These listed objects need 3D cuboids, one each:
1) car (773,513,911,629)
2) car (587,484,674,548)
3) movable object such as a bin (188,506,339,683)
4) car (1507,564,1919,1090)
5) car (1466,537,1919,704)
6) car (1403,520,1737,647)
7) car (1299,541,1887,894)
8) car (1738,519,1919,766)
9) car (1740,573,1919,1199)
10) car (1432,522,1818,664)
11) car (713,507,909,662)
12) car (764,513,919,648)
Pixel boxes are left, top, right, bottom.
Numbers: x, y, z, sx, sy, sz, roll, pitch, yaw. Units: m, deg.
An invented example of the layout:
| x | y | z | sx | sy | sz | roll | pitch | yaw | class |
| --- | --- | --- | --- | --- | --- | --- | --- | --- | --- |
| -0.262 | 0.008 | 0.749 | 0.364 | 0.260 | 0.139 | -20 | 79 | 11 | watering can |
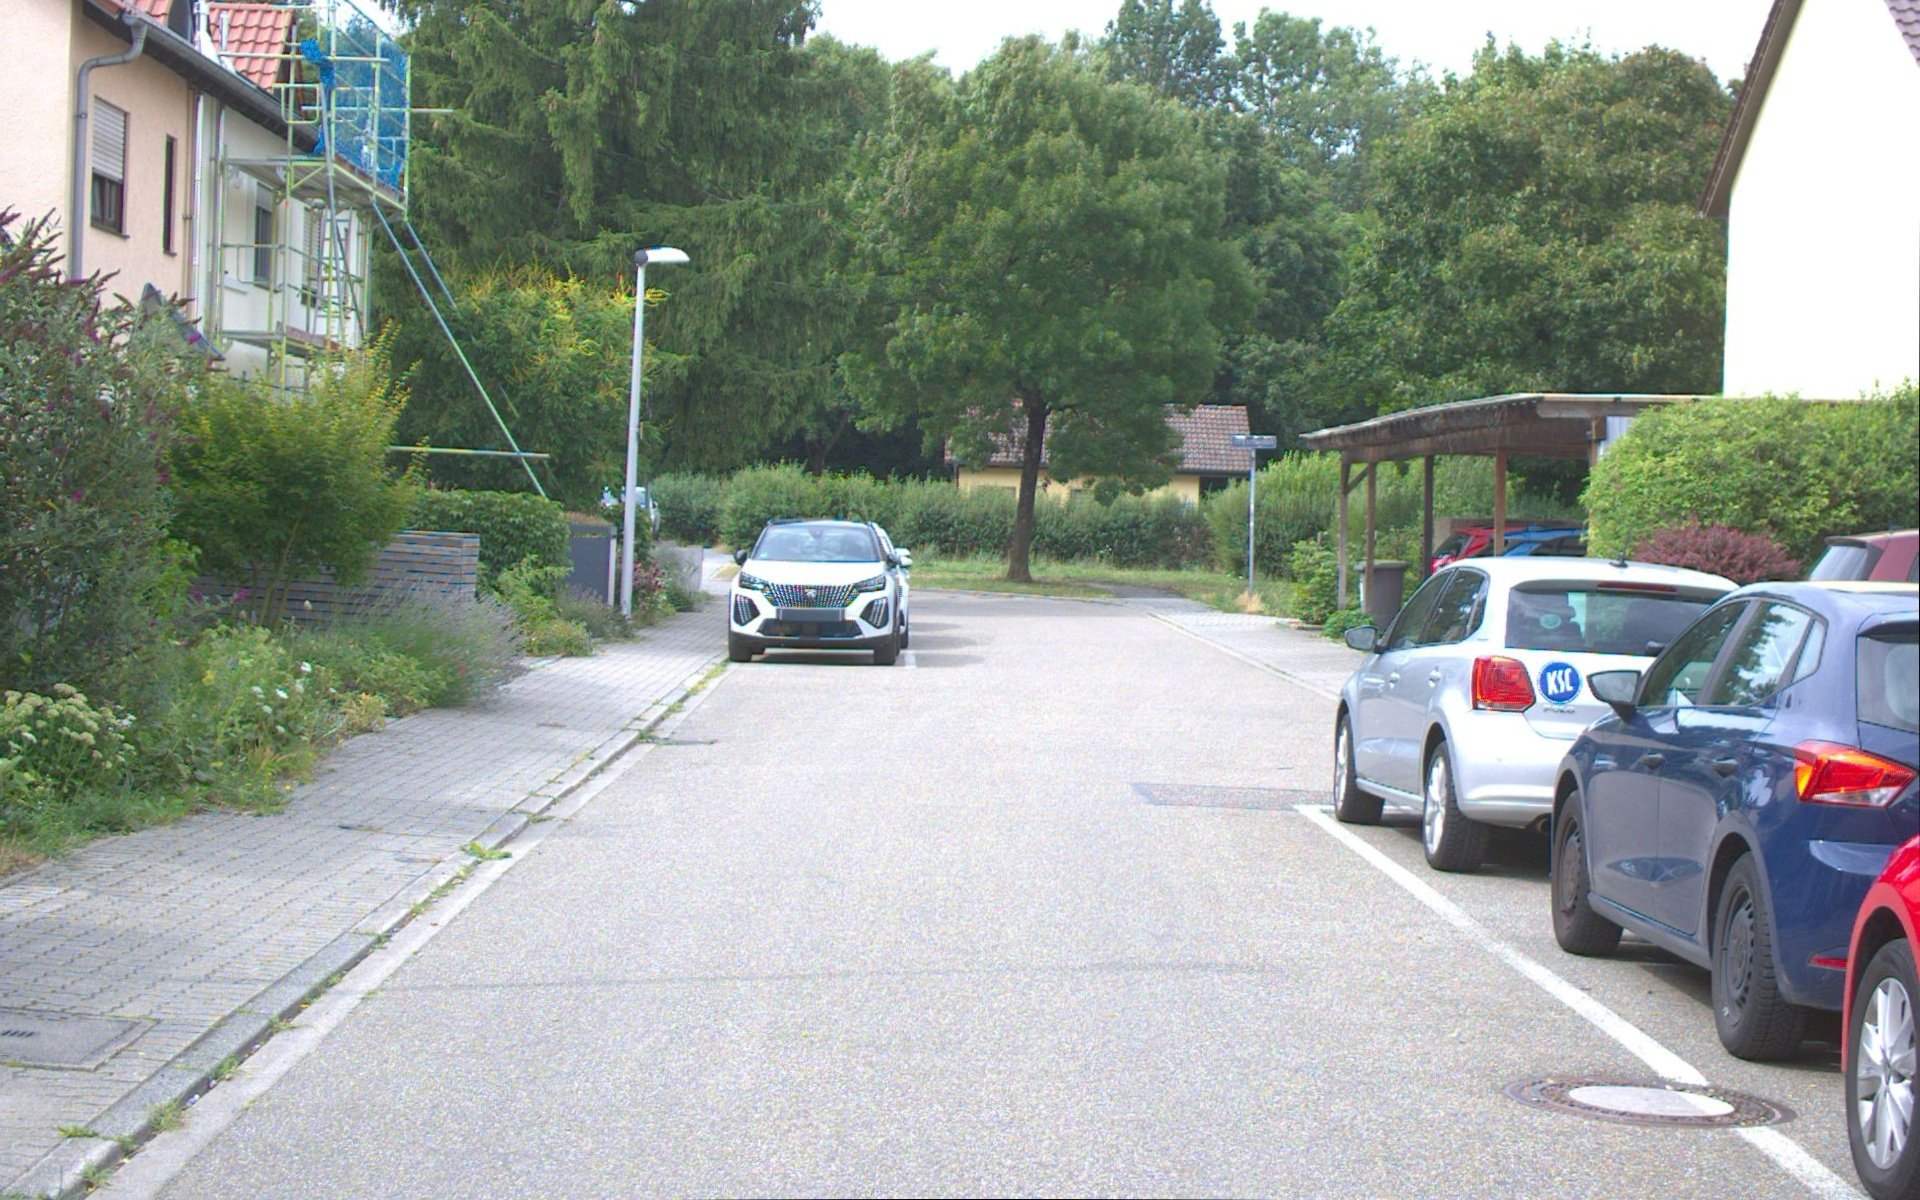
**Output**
| x | y | z | sx | sy | sz | roll | pitch | yaw | class |
| --- | --- | --- | --- | --- | --- | --- | --- | --- | --- |
| -1.626 | -0.452 | 48.708 | 1.791 | 1.526 | 4.140 | 1 | 2 | 0 | car |
| -9.027 | -2.325 | 94.461 | 1.937 | 1.654 | 4.341 | 2 | 2 | 0 | car |
| -5.278 | -0.052 | 26.098 | 0.949 | 1.307 | 1.001 | 1 | 1 | -1 | movable object such as a bin |
| 3.076 | 0.612 | 11.480 | 1.773 | 1.351 | 4.266 | 1 | 2 | 0 | car |
| 7.237 | 0.182 | 32.715 | 4.449 | 1.428 | 2.027 | 1 | 1 | -2 | car |
| 7.975 | -0.236 | 45.177 | 3.956 | 1.535 | 1.839 | 1 | 1 | -3 | car |
| 2.947 | 0.475 | 16.976 | 1.864 | 1.412 | 4.254 | 2 | 2 | -3 | car |
| 7.534 | 0.284 | 22.810 | 4.270 | 1.554 | 1.935 | 1 | 1 | 0 | car |
| 3.012 | 0.754 | 6.647 | 1.773 | 1.431 | 4.826 | 4 | 1 | -1 | car |
| 7.736 | -0.102 | 40.255 | 4.045 | 1.517 | 1.951 | 1 | 1 | -3 | car |
| -1.574 | -0.224 | 37.850 | 1.934 | 1.551 | 4.635 | 1 | 2 | 0 | car |
| -1.448 | -0.291 | 43.250 | 1.810 | 1.556 | 4.848 | 1 | 2 | -1 | car |
